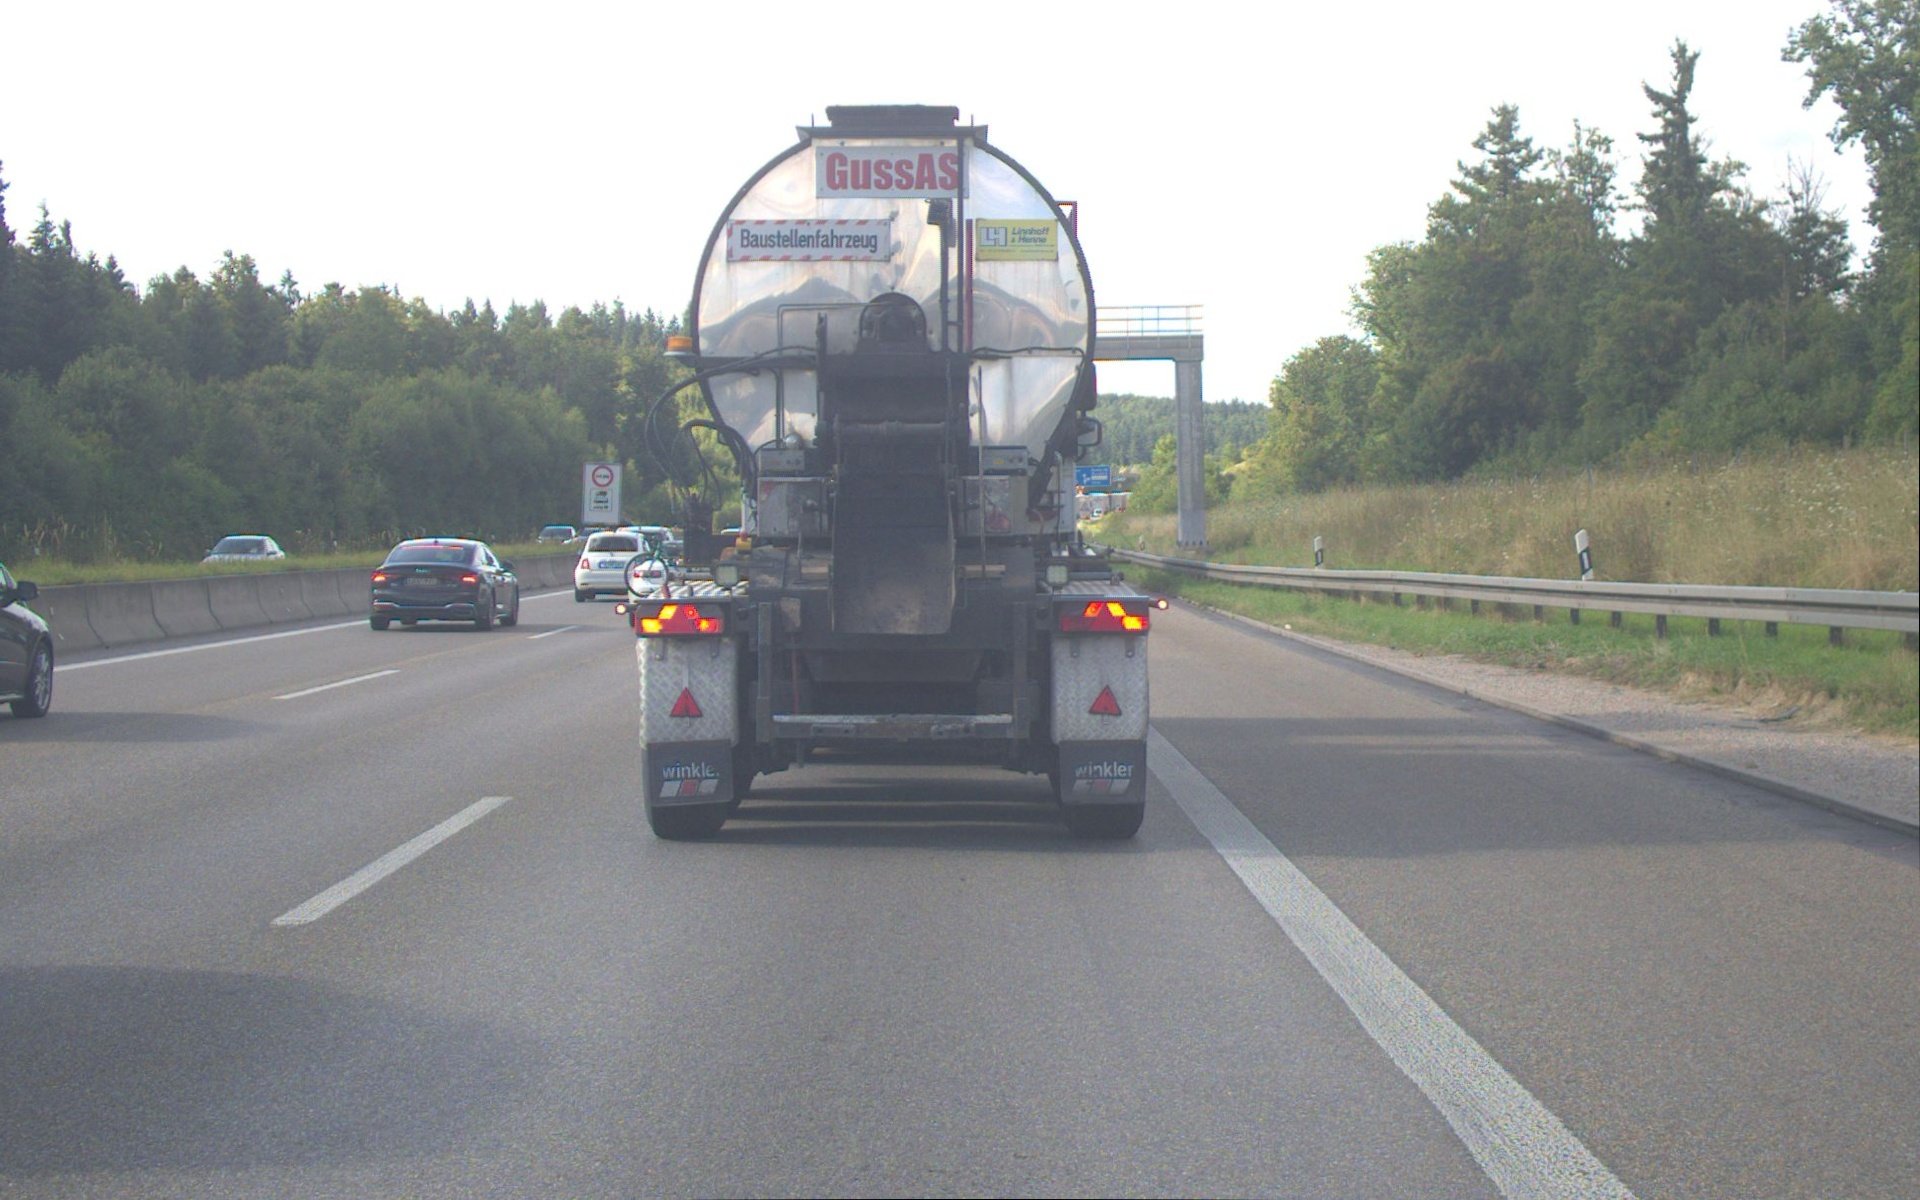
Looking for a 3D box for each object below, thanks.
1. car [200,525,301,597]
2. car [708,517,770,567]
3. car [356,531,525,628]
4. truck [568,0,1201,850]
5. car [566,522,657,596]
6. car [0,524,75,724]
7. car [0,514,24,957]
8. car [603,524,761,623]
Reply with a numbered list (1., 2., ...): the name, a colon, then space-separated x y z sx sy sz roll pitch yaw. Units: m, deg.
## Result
1. car: -19.204 -1.085 93.210 1.926 1.899 4.430 0 1 -1
2. car: -7.325 -1.950 114.093 1.806 1.580 4.207 1 2 -1
3. car: -7.929 -0.350 52.874 1.856 1.426 4.841 0 1 0
4. truck: -0.330 -1.046 21.481 2.912 4.143 11.270 0 1 0
5. car: -7.532 -0.898 74.513 1.618 1.539 3.520 1 1 -1
6. car: -8.183 0.180 26.040 1.835 1.512 4.333 0 1 0
7. car: -4.191 0.502 9.857 1.835 1.512 4.333 0 1 0
8. car: -4.373 -0.465 54.908 2.060 1.494 5.736 0 1 0
